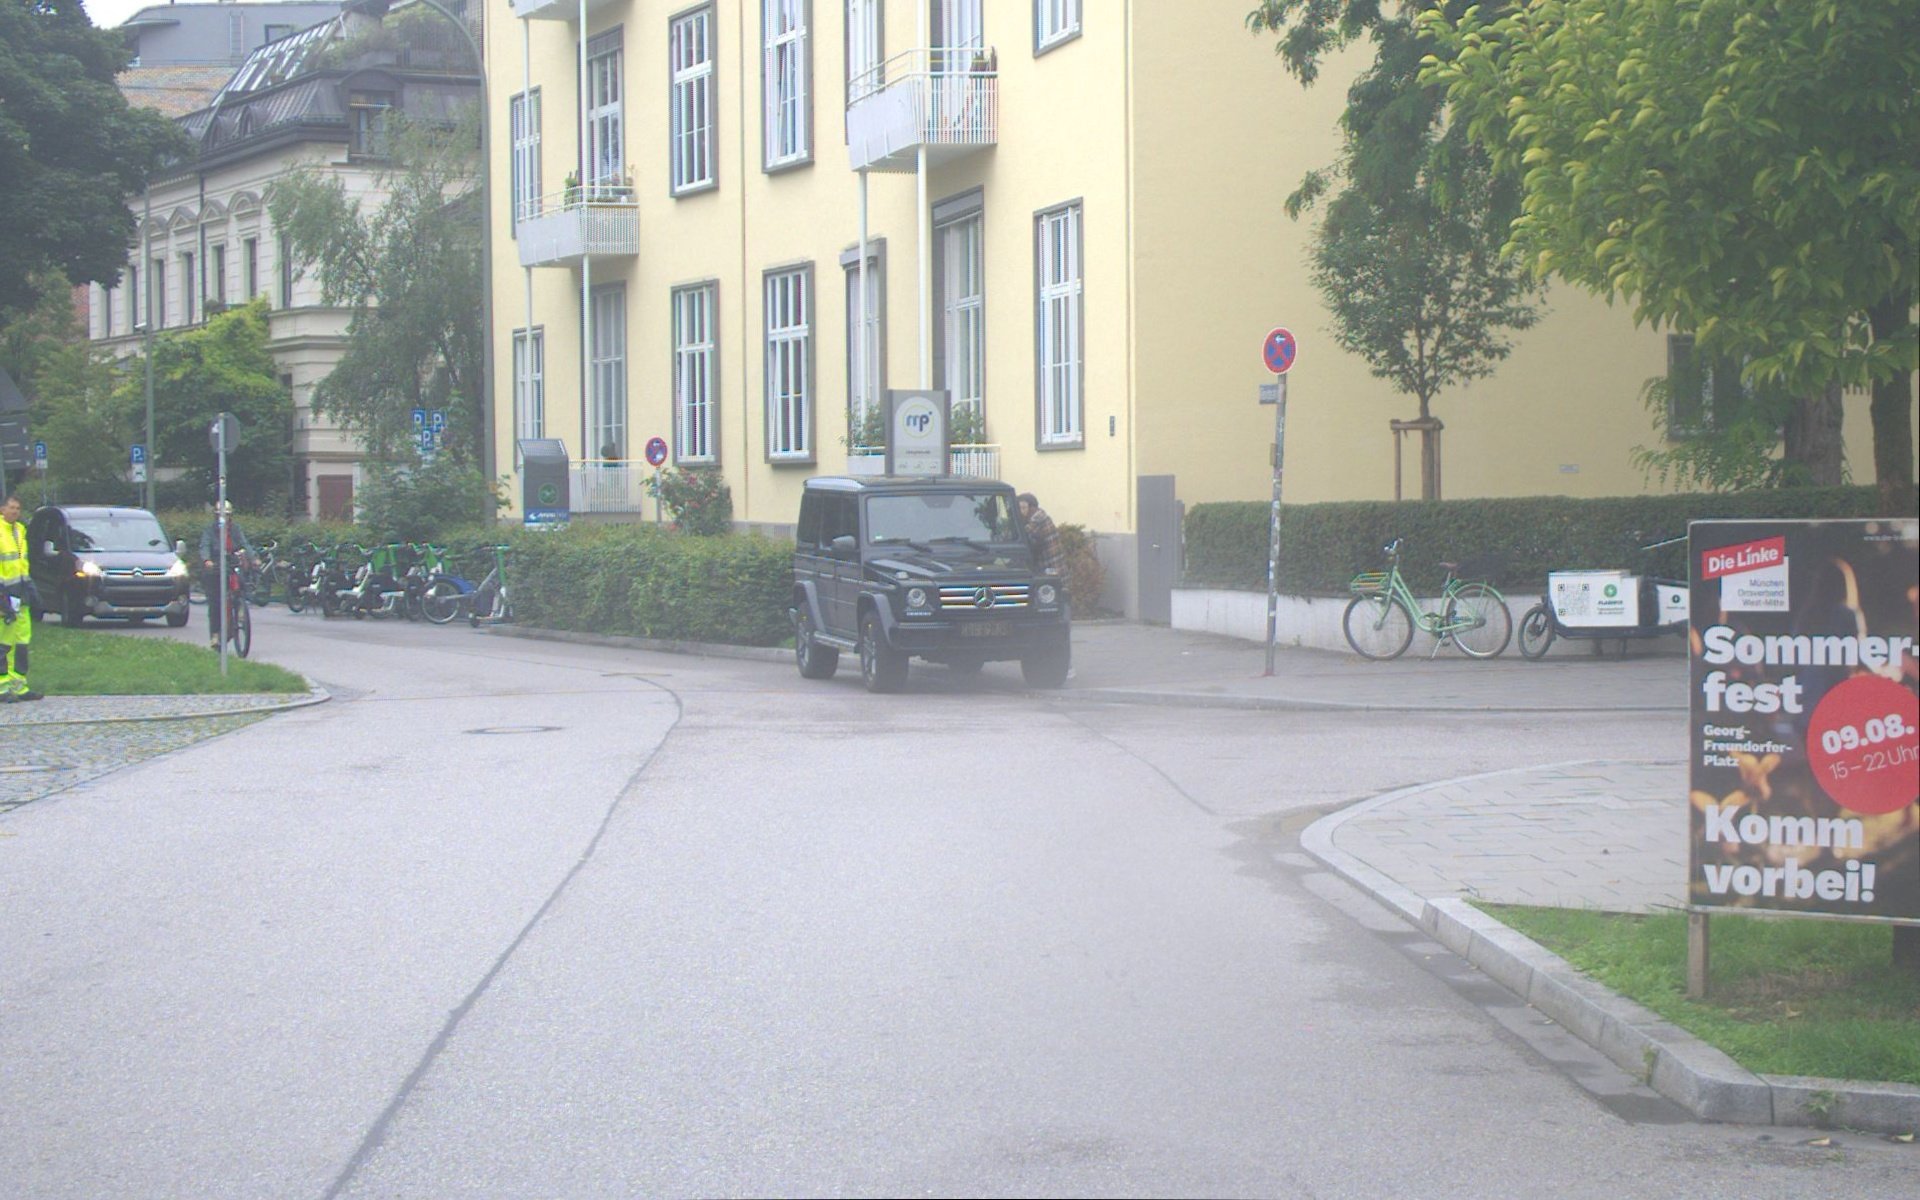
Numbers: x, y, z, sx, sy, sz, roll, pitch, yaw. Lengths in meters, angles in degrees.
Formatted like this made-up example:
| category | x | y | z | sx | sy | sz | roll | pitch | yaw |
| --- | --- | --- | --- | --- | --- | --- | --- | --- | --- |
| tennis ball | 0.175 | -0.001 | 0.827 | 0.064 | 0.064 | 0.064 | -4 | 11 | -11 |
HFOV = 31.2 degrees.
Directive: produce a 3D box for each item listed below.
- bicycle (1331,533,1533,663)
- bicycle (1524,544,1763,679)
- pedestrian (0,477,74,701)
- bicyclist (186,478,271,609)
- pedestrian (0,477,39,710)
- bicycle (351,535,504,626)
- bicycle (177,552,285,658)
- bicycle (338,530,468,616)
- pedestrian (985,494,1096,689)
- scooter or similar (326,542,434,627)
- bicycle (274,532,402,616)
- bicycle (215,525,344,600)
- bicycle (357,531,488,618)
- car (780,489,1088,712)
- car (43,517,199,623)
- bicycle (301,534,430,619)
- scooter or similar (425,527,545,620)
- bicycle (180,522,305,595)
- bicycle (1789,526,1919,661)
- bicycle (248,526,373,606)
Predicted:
| category | x | y | z | sx | sy | sz | roll | pitch | yaw |
| --- | --- | --- | --- | --- | --- | --- | --- | --- | --- |
| bicycle | 4.482 | -0.039 | 32.736 | 1.927 | 1.197 | 0.594 | 1 | 2 | 44 |
| bicycle | 6.221 | 0.095 | 31.321 | 2.069 | 1.197 | 0.595 | 0 | 1 | 21 |
| pedestrian | -8.688 | -0.111 | 31.305 | 0.931 | 2.007 | 0.956 | 0 | 1 | 2 |
| bicyclist | -8.668 | -0.670 | 40.733 | 0.743 | 1.516 | 0.946 | -2 | 1 | -25 |
| pedestrian | -8.698 | -0.063 | 30.136 | 0.931 | 2.007 | 0.956 | 0 | 1 | 2 |
| bicycle | -7.870 | -0.295 | 50.832 | 2.150 | 1.301 | 0.734 | -2 | 2 | -39 |
| bicycle | -8.651 | 0.043 | 40.736 | 0.743 | 1.210 | 2.144 | -2 | 1 | -25 |
| bicycle | -8.699 | -0.434 | 53.776 | 0.733 | 1.301 | 2.152 | 0 | 2 | 34 |
| pedestrian | 0.754 | -0.090 | 32.460 | 0.874 | 1.817 | 0.799 | 0 | 1 | -13 |
| scooter or similar | -9.127 | -0.260 | 54.152 | 0.733 | 1.301 | 1.727 | 0 | 2 | 30 |
| bicycle | -10.011 | -0.430 | 55.392 | 0.733 | 1.301 | 2.152 | 0 | 2 | 34 |
| bicycle | -12.095 | -0.681 | 61.081 | 2.148 | 1.301 | 0.735 | -1 | 1 | -19 |
| bicycle | -8.262 | -0.407 | 52.931 | 0.733 | 1.301 | 2.152 | 0 | 2 | 34 |
| car | -0.333 | -0.056 | 32.388 | 1.762 | 1.868 | 4.380 | 3 | 1 | -15 |
| car | -12.305 | -0.476 | 50.273 | 1.914 | 1.466 | 4.001 | -1 | 2 | -18 |
| bicycle | -9.445 | -0.389 | 54.712 | 0.733 | 1.301 | 2.152 | 0 | 2 | 34 |
| scooter or similar | -6.884 | -0.394 | 49.941 | 0.733 | 1.301 | 2.154 | 0 | 1 | 22 |
| bicycle | -13.140 | -0.764 | 62.954 | 2.148 | 1.301 | 0.735 | -1 | 1 | -19 |
| bicycle | 8.504 | -0.065 | 31.001 | 1.922 | 1.197 | 0.595 | 0 | 1 | 2 |
| bicycle | -10.777 | -0.577 | 57.119 | 0.733 | 1.301 | 2.152 | 0 | 2 | 34 |
